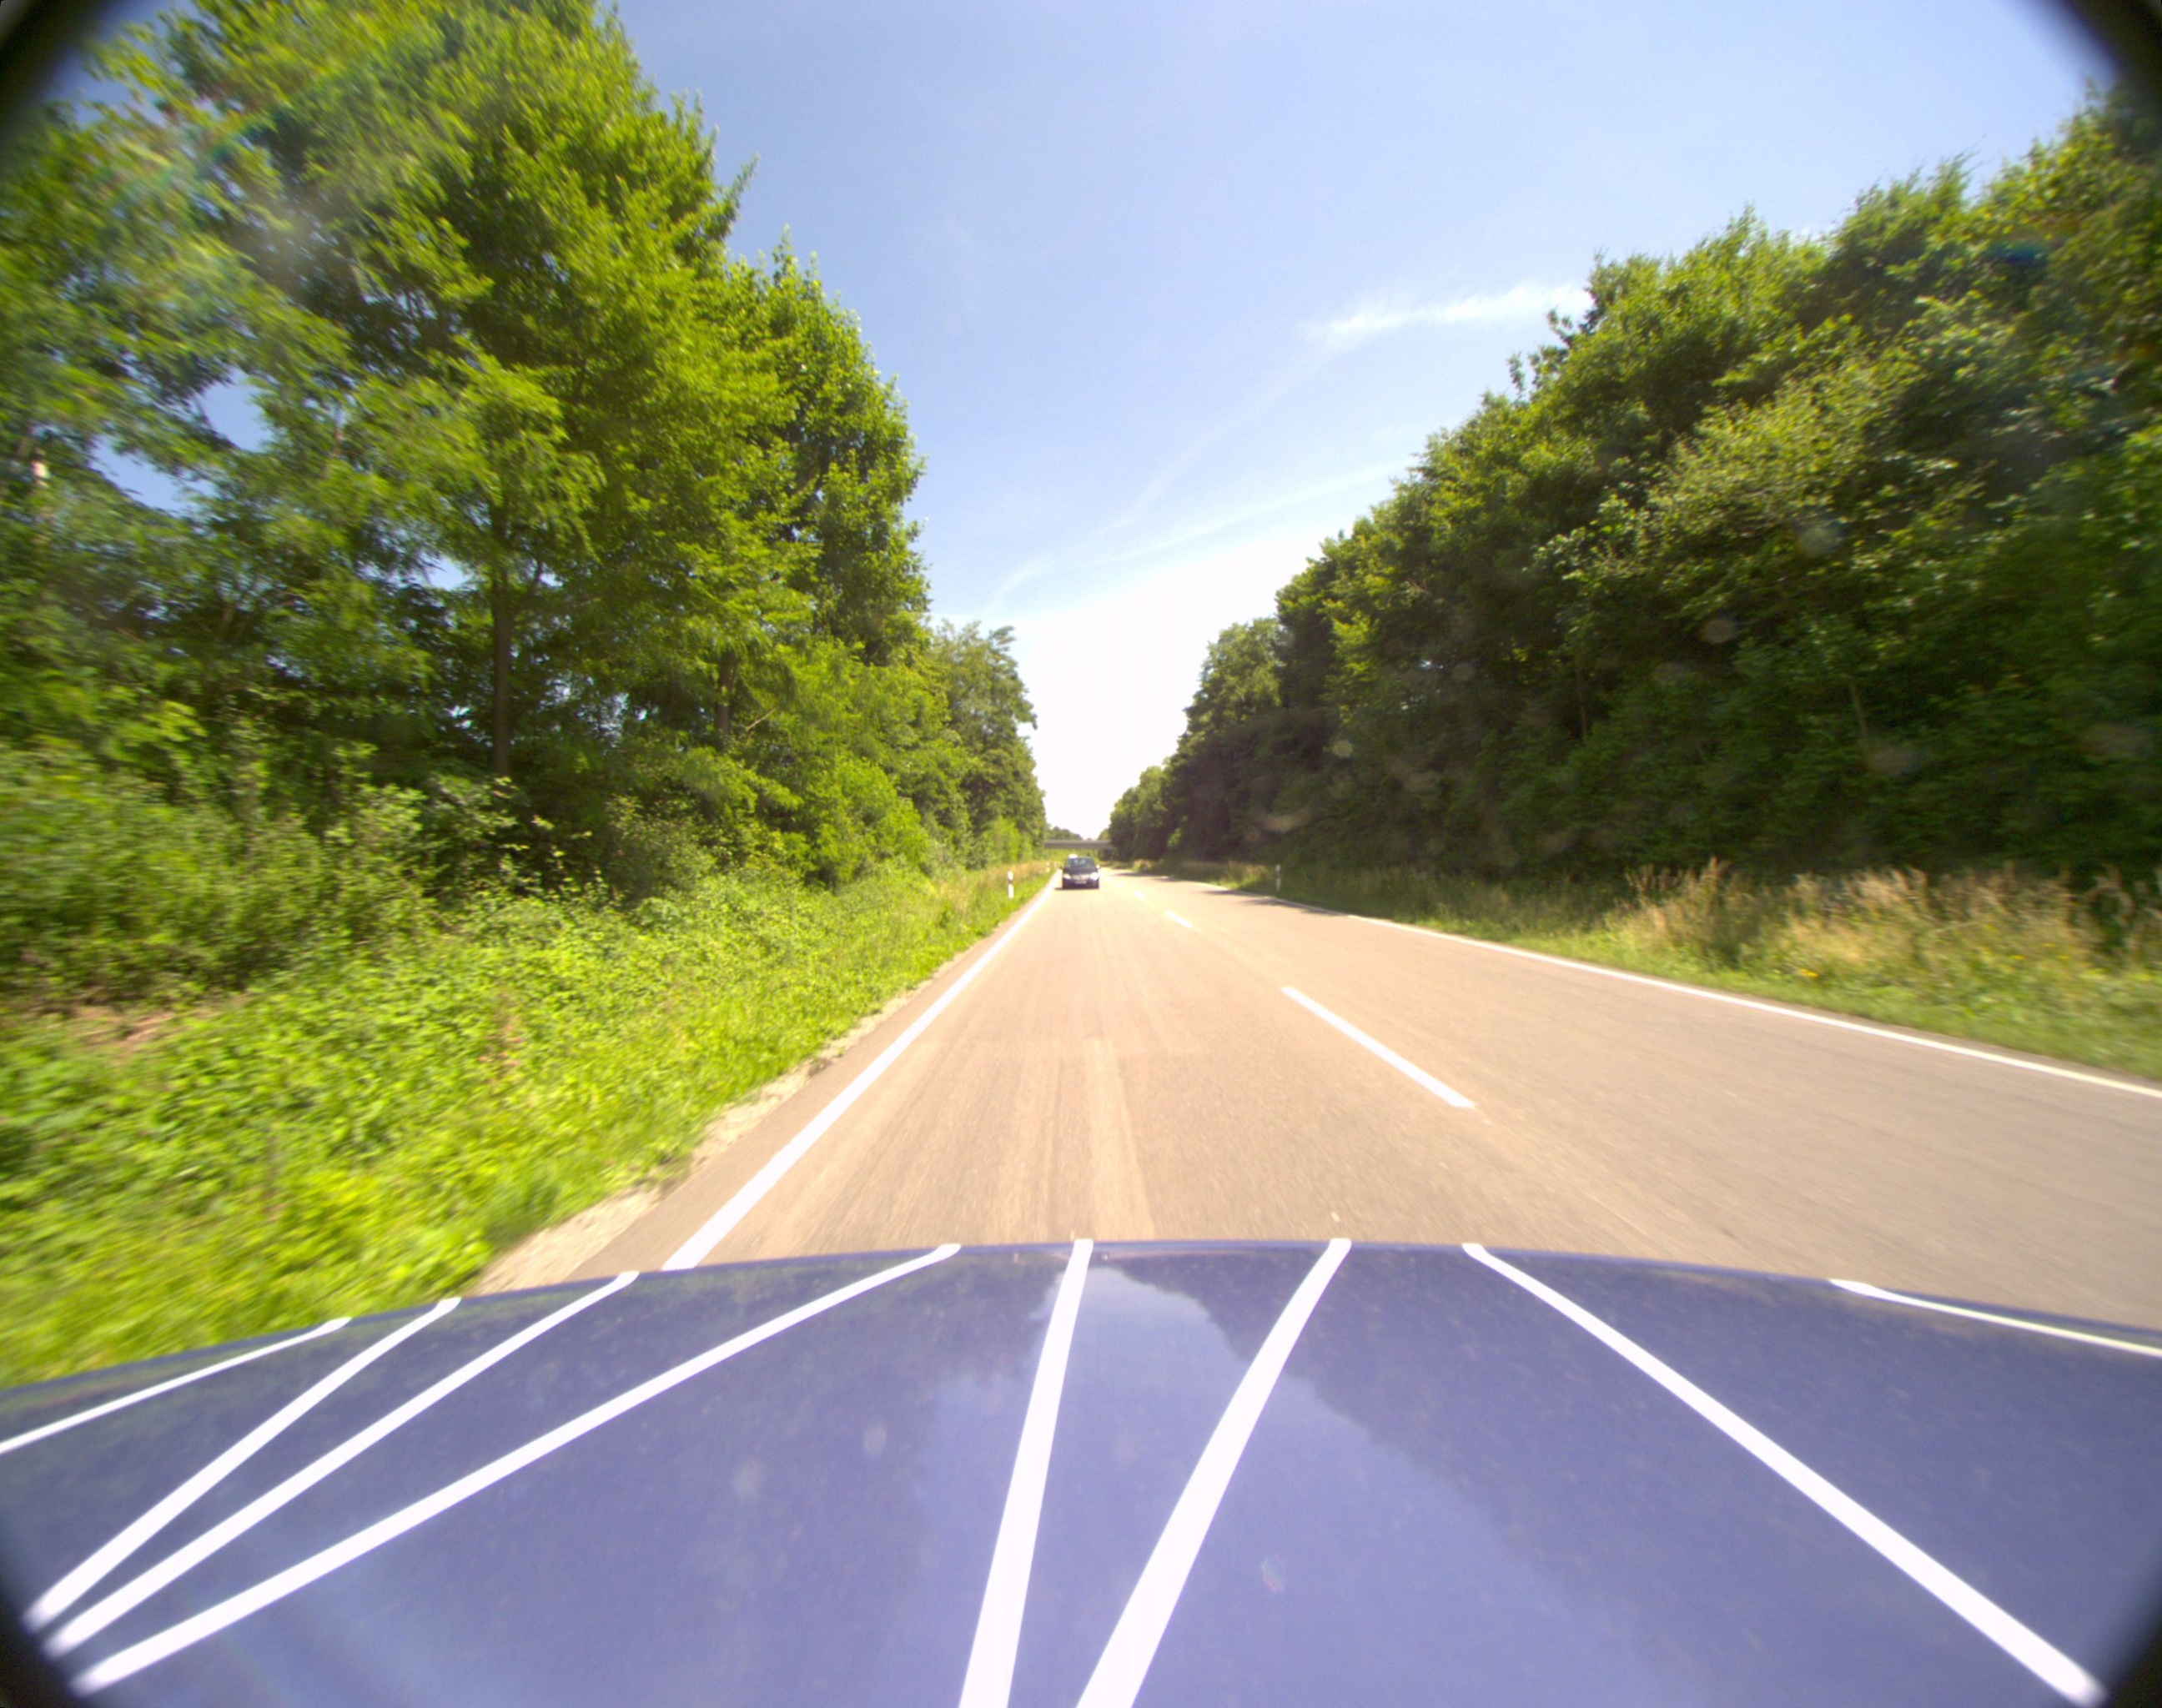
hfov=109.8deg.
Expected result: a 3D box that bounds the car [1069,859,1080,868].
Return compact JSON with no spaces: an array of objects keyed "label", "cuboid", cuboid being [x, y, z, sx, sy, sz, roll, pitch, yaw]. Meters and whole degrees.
[{"label":"car","cuboid":[-1.139,1.641,131.179,1.709,1.524,4.778,-2,0,0]}]

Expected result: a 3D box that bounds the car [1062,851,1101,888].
[{"label":"car","cuboid":[0.021,0.765,37.875,1.784,1.675,4.779,0,-1,0]}]
